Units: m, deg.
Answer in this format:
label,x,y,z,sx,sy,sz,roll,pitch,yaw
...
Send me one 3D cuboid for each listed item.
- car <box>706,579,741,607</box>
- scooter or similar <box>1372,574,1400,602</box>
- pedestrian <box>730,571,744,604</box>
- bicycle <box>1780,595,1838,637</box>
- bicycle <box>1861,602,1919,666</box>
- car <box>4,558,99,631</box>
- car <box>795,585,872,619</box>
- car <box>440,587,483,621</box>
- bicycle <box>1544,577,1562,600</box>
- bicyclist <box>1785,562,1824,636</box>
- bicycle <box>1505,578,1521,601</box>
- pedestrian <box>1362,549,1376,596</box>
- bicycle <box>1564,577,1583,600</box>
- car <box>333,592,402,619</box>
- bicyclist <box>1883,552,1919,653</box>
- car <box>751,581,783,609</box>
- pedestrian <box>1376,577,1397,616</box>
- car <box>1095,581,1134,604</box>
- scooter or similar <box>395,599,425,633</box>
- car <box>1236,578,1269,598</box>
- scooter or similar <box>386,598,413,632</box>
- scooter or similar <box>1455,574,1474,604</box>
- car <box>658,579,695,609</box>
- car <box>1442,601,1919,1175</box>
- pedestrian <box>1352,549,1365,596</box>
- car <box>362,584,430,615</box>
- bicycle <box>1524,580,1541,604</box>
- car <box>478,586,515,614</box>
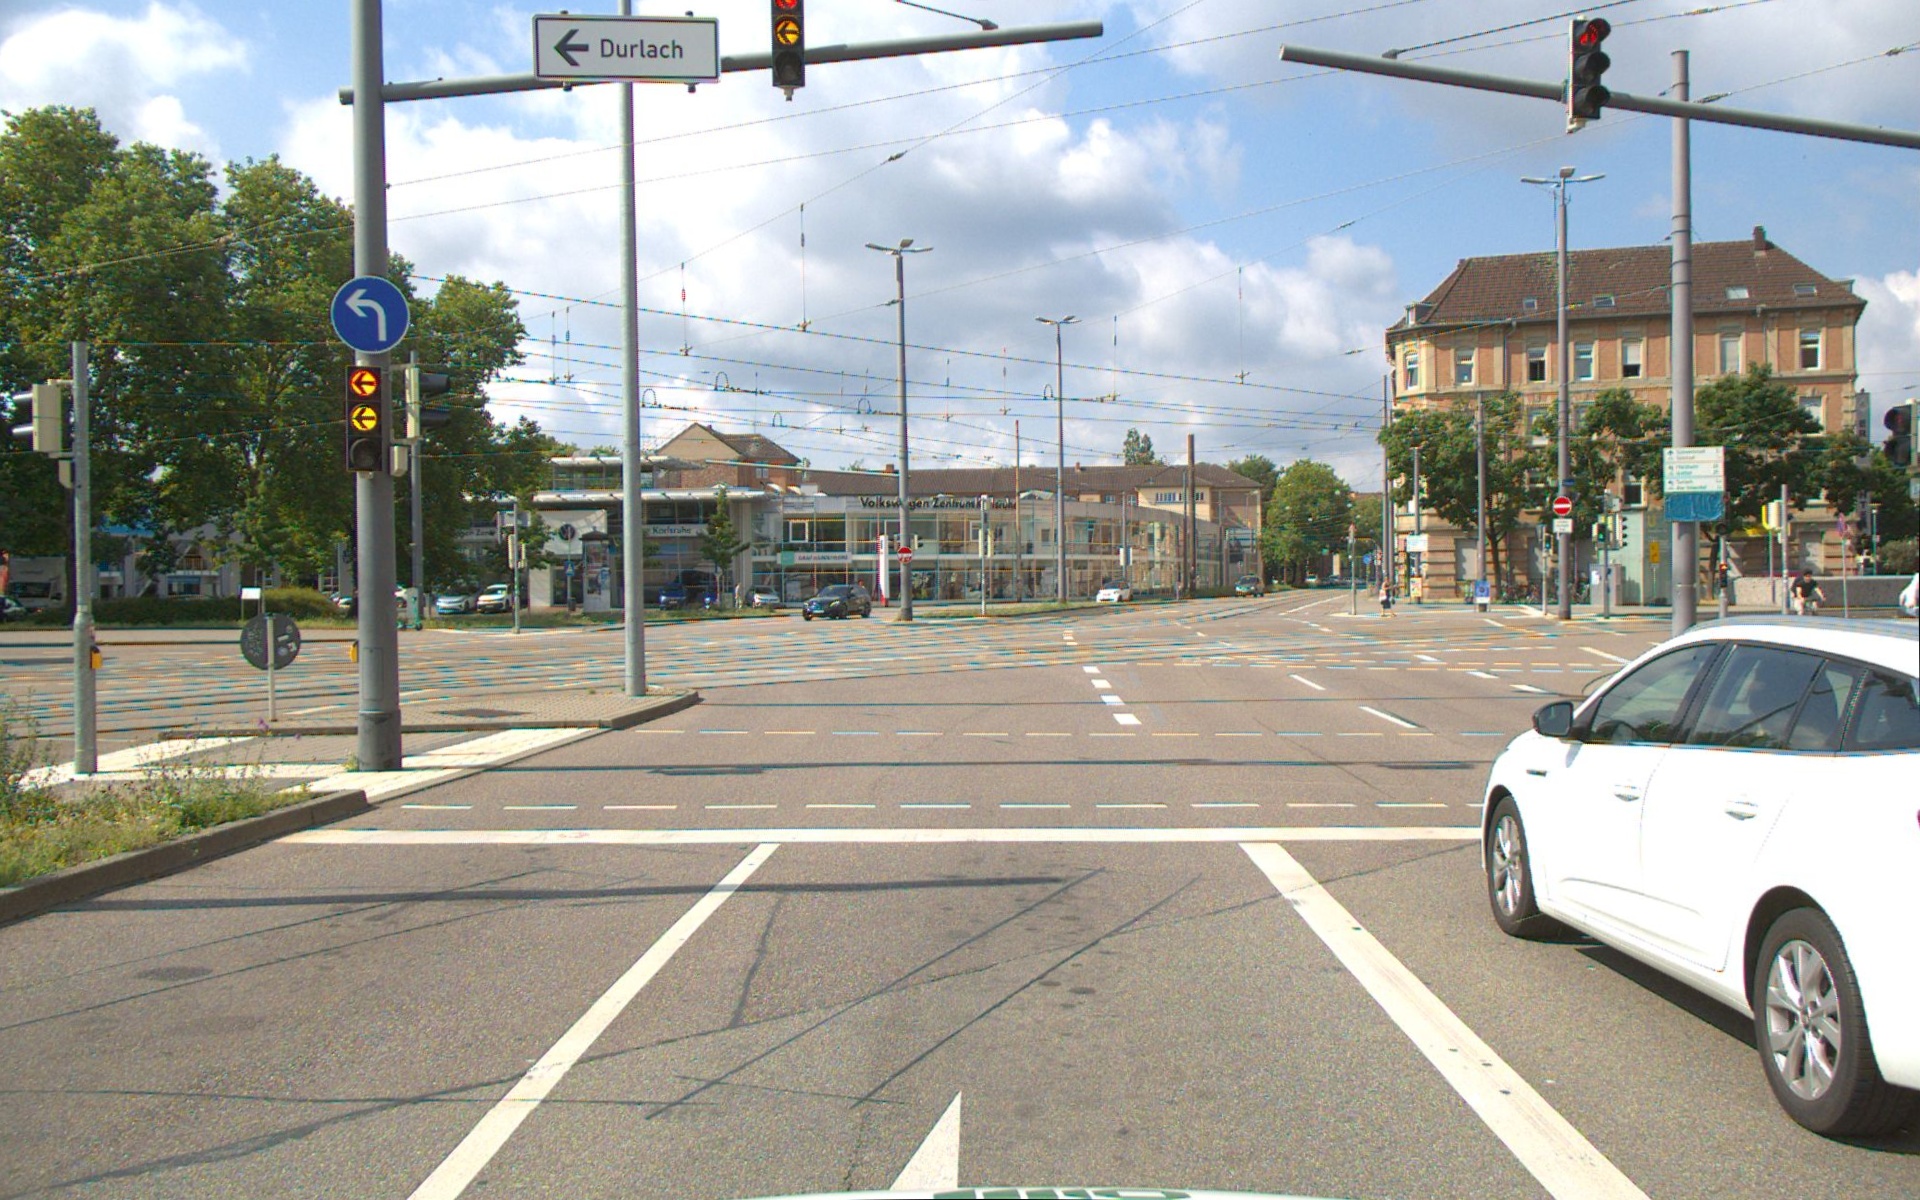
label,x,y,z,sx,sy,sz,roll,pitch,yaw
car,-15.151,-0.438,106.132,1.955,1.756,3.995,1,0,-5
scooter or similar,22.503,-0.638,87.411,1.151,1.410,2.806,1,0,10
pedestrian,-14.029,-0.786,104.193,0.852,2.049,0.702,-1,0,-8
bicycle,19.874,0.361,38.757,0.742,0.890,1.811,-3,0,13
bicycle,14.320,0.501,24.586,0.637,0.913,2.276,-1,0,1
car,-40.466,-0.251,73.846,1.960,3.096,7.220,-1,0,-15
car,-5.364,0.061,70.470,1.826,1.400,3.942,-1,1,19
car,-32.235,0.259,107.074,1.956,2.049,3.993,2,0,-8
bicycle,30.471,-0.593,84.967,0.743,1.186,2.686,-1,0,18
bicyclist,19.848,-0.035,38.884,0.565,1.701,0.938,-2,0,13
bicycle,28.607,-0.550,85.587,0.743,1.186,2.686,-1,0,17
pedestrian,27.439,-1.823,110.846,0.710,3.130,0.887,1,-1,25
bicycle,31.388,-0.601,84.679,0.743,1.186,2.686,-1,0,17
car,-36.535,0.337,102.008,3.594,1.514,1.673,2,0,1
bicyclist,14.384,0.027,24.625,0.621,1.483,1.170,-1,0,1
car,-12.617,-0.313,107.977,1.892,1.713,3.992,1,0,-8
pedestrian,17.047,-0.154,66.100,0.725,1.542,0.544,-1,0,24
car,10.477,-0.522,111.789,1.651,1.495,3.655,1,0,22
scooter or similar,-19.780,0.580,59.495,1.041,1.217,0.381,1,-1,27
car,23.683,-0.974,133.904,1.952,1.601,3.737,-1,0,21
scooter or similar,-19.974,0.533,58.923,1.044,1.217,0.380,1,-1,38
scooter or similar,26.122,-0.586,85.691,0.859,1.508,2.016,-1,0,16
car,-18.262,-0.377,106.673,1.954,1.870,3.997,-2,0,-4
car,3.309,0.755,6.053,1.721,1.454,4.674,1,0,0
pedestrian,26.767,-1.833,111.175,0.652,3.175,0.887,1,-1,25
car,-38.870,-0.023,114.025,3.902,2.049,2.001,1,0,5
bicycle,29.526,-0.414,85.278,0.743,1.186,2.686,-1,0,18
car,-30.061,-0.015,107.442,1.752,1.712,3.993,-1,1,-8
